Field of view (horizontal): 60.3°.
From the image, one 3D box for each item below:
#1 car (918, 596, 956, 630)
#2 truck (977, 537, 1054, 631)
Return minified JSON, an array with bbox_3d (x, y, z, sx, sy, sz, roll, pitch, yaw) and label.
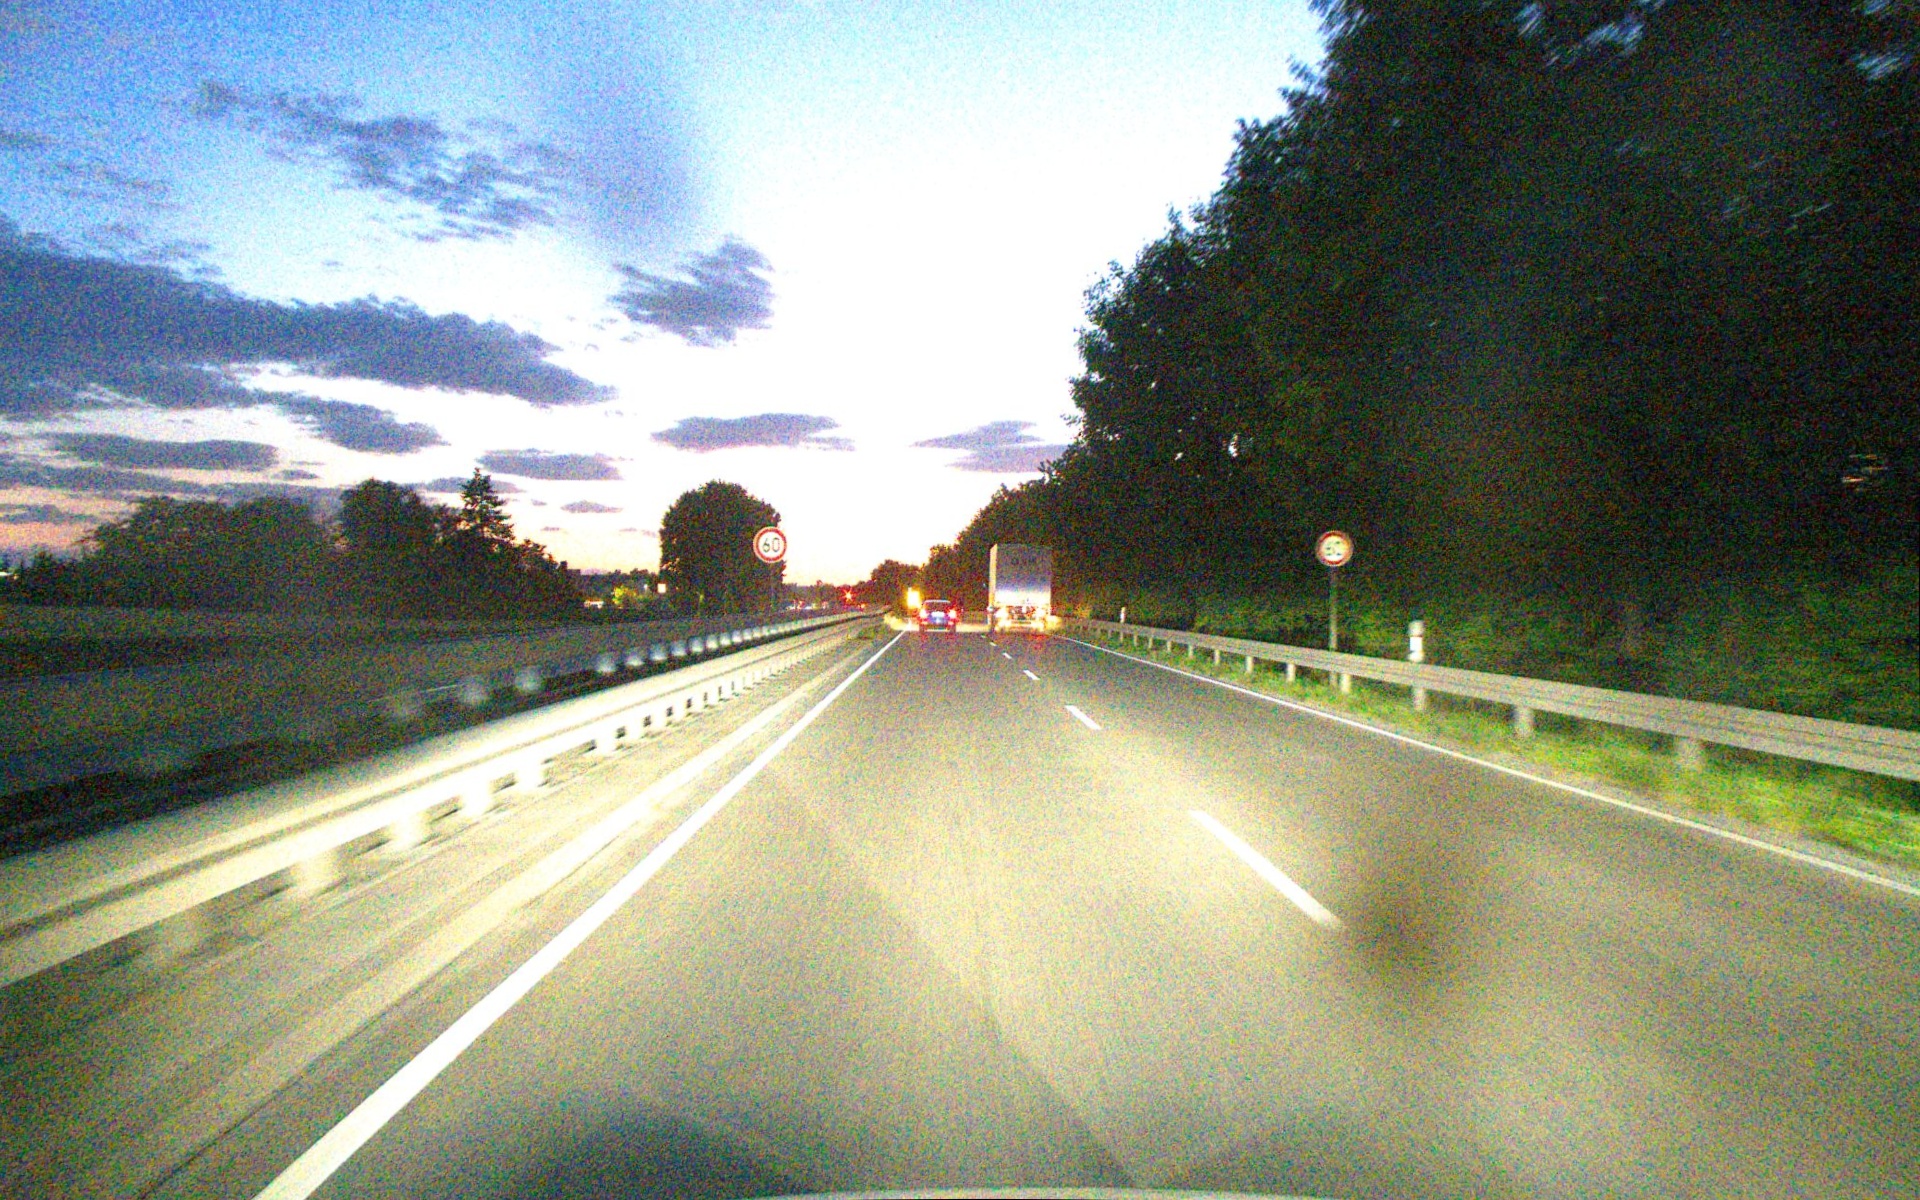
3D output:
[{"bbox_3d":[-1.076,0.585,75.556,1.661,1.478,3.912,1,0,-2],"label":"car"},{"bbox_3d":[2.551,-0.754,80.385,2.825,4.178,12.678,1,0,-2],"label":"truck"}]
